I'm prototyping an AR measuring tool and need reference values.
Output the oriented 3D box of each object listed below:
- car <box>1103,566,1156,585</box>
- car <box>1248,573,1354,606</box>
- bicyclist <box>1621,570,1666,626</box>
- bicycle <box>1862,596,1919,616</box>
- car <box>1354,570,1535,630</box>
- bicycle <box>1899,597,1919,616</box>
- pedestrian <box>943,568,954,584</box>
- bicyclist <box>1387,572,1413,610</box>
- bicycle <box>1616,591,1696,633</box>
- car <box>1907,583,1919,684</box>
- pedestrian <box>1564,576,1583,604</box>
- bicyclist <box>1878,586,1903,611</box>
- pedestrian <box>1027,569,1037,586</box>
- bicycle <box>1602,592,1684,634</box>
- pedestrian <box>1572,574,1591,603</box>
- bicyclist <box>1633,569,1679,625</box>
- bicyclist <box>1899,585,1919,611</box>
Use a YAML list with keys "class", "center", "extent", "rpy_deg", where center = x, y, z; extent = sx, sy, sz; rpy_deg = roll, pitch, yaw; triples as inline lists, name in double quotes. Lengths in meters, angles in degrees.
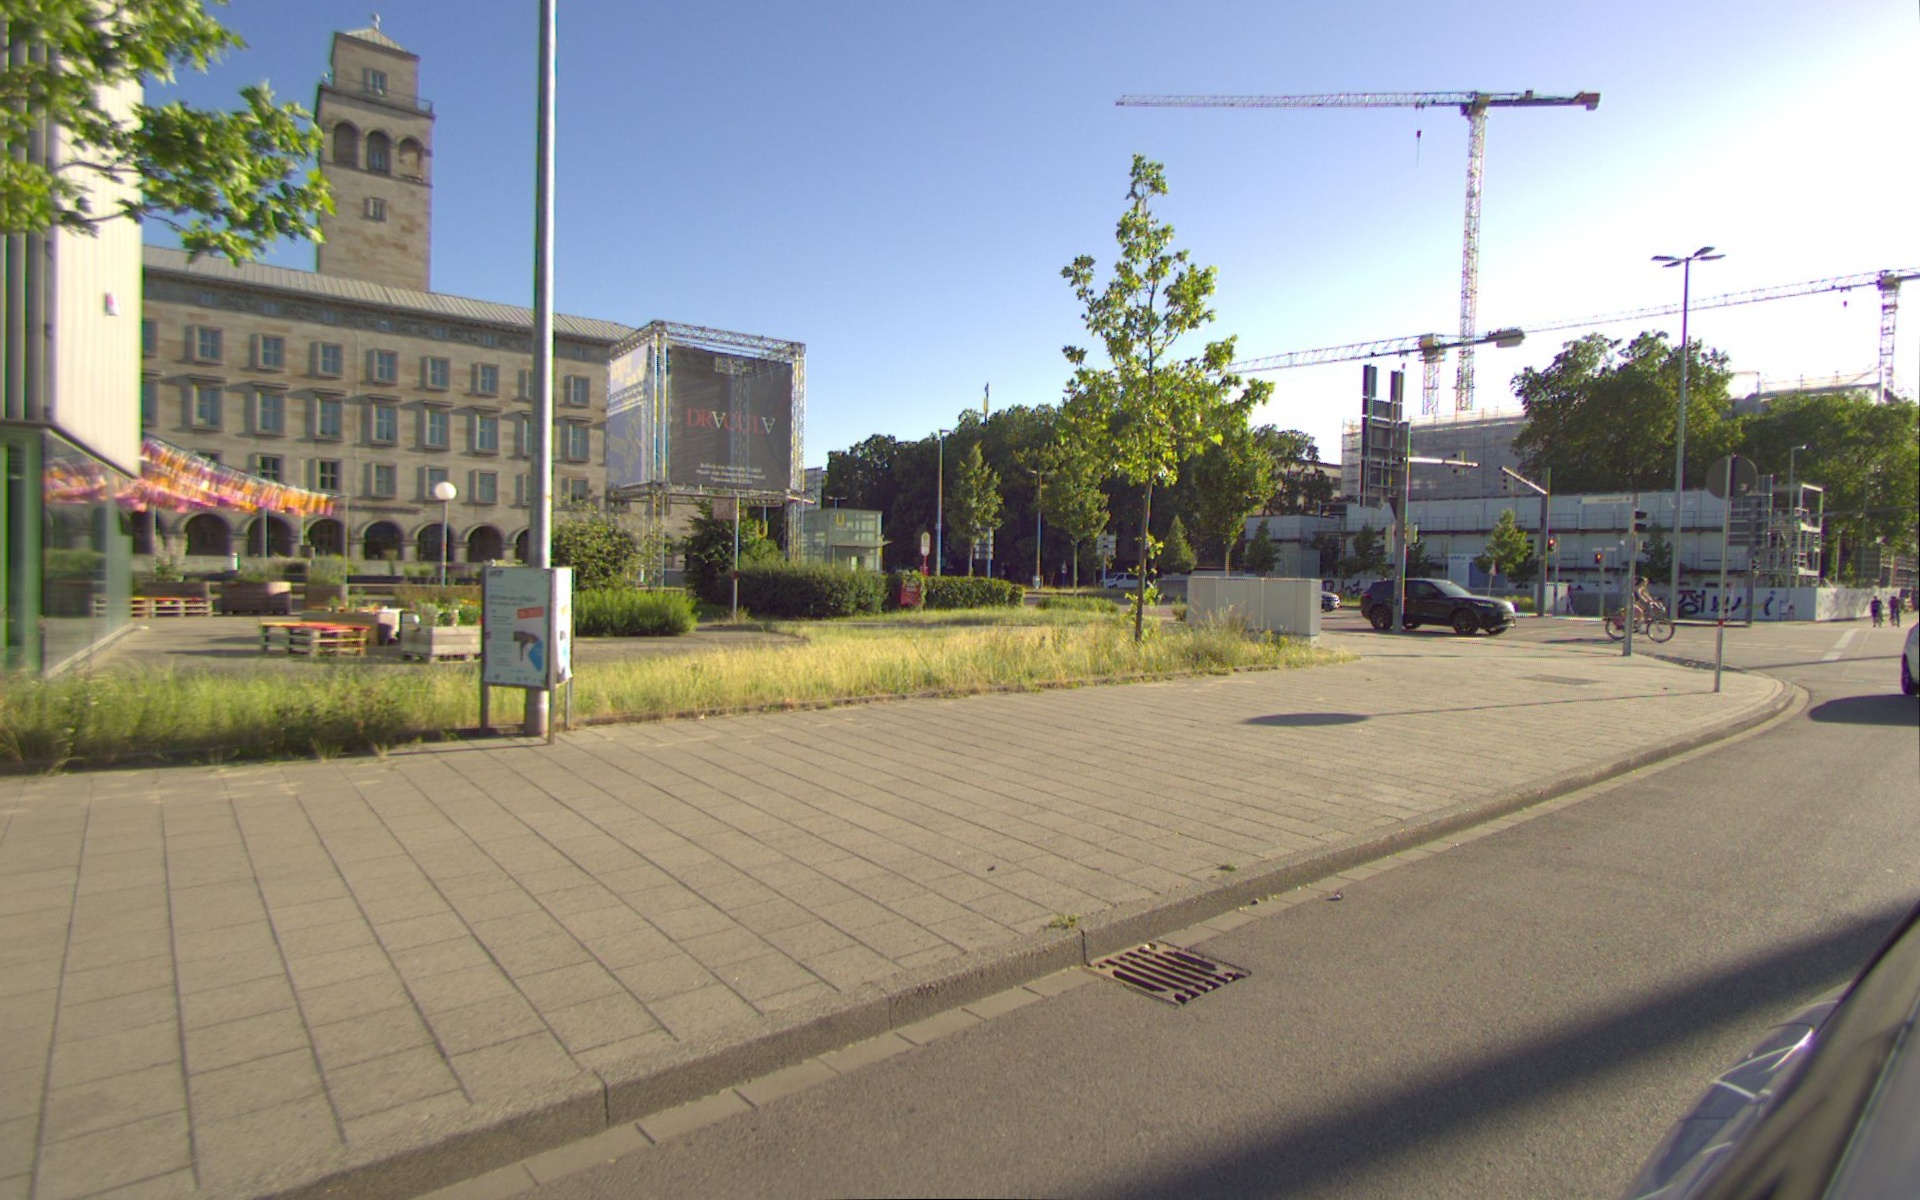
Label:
- class: "car"
  center: [17.281, -2.497, 103.176]
  extent: [5.223, 1.915, 2.003]
  rpy_deg: [0, 1, -29]
- class: "car"
  center: [15.703, -0.523, 46.832]
  extent: [1.742, 1.368, 4.530]
  rpy_deg: [-1, 3, -33]
- class: "bicyclist"
  center: [19.467, -0.067, 28.823]
  extent: [0.639, 1.562, 0.848]
  rpy_deg: [0, 1, -31]
- class: "bicycle"
  center: [47.073, 0.281, 51.166]
  extent: [0.788, 0.939, 2.082]
  rpy_deg: [0, 1, -18]
- class: "car"
  center: [15.173, -0.071, 31.955]
  extent: [1.962, 1.682, 4.794]
  rpy_deg: [0, 2, -35]
- class: "bicycle"
  center: [49.326, 0.307, 52.564]
  extent: [0.803, 0.939, 2.044]
  rpy_deg: [1, 1, 44]
- class: "pedestrian"
  center: [-1.291, -2.677, 113.691]
  extent: [0.979, 1.804, 0.965]
  rpy_deg: [-2, 3, -34]
- class: "bicyclist"
  center: [18.021, -0.369, 41.456]
  extent: [0.929, 1.522, 0.618]
  rpy_deg: [1, 2, 29]
- class: "bicycle"
  center: [20.140, 0.335, 29.321]
  extent: [0.613, 1.130, 1.818]
  rpy_deg: [0, 2, -31]
- class: "car"
  center: [14.231, 0.530, 13.557]
  extent: [1.650, 1.489, 3.920]
  rpy_deg: [1, 2, 35]
- class: "pedestrian"
  center: [36.895, -0.601, 60.838]
  extent: [0.824, 1.608, 0.654]
  rpy_deg: [0, 1, -34]
- class: "bicyclist"
  center: [47.062, -0.077, 51.184]
  extent: [0.788, 1.286, 0.639]
  rpy_deg: [0, 1, -18]
- class: "pedestrian"
  center: [7.180, -2.247, 100.672]
  extent: [0.652, 1.748, 0.698]
  rpy_deg: [0, 1, -34]
- class: "bicycle"
  center: [19.437, 0.355, 28.846]
  extent: [0.639, 1.107, 1.802]
  rpy_deg: [0, 2, -32]
- class: "pedestrian"
  center: [37.688, -0.686, 61.350]
  extent: [0.824, 1.701, 0.654]
  rpy_deg: [0, 1, -34]
- class: "bicyclist"
  center: [20.160, -0.091, 29.309]
  extent: [0.613, 1.594, 0.896]
  rpy_deg: [0, 1, -31]
- class: "bicyclist"
  center: [49.335, -0.108, 52.566]
  extent: [0.803, 1.314, 0.764]
  rpy_deg: [1, 1, 44]
